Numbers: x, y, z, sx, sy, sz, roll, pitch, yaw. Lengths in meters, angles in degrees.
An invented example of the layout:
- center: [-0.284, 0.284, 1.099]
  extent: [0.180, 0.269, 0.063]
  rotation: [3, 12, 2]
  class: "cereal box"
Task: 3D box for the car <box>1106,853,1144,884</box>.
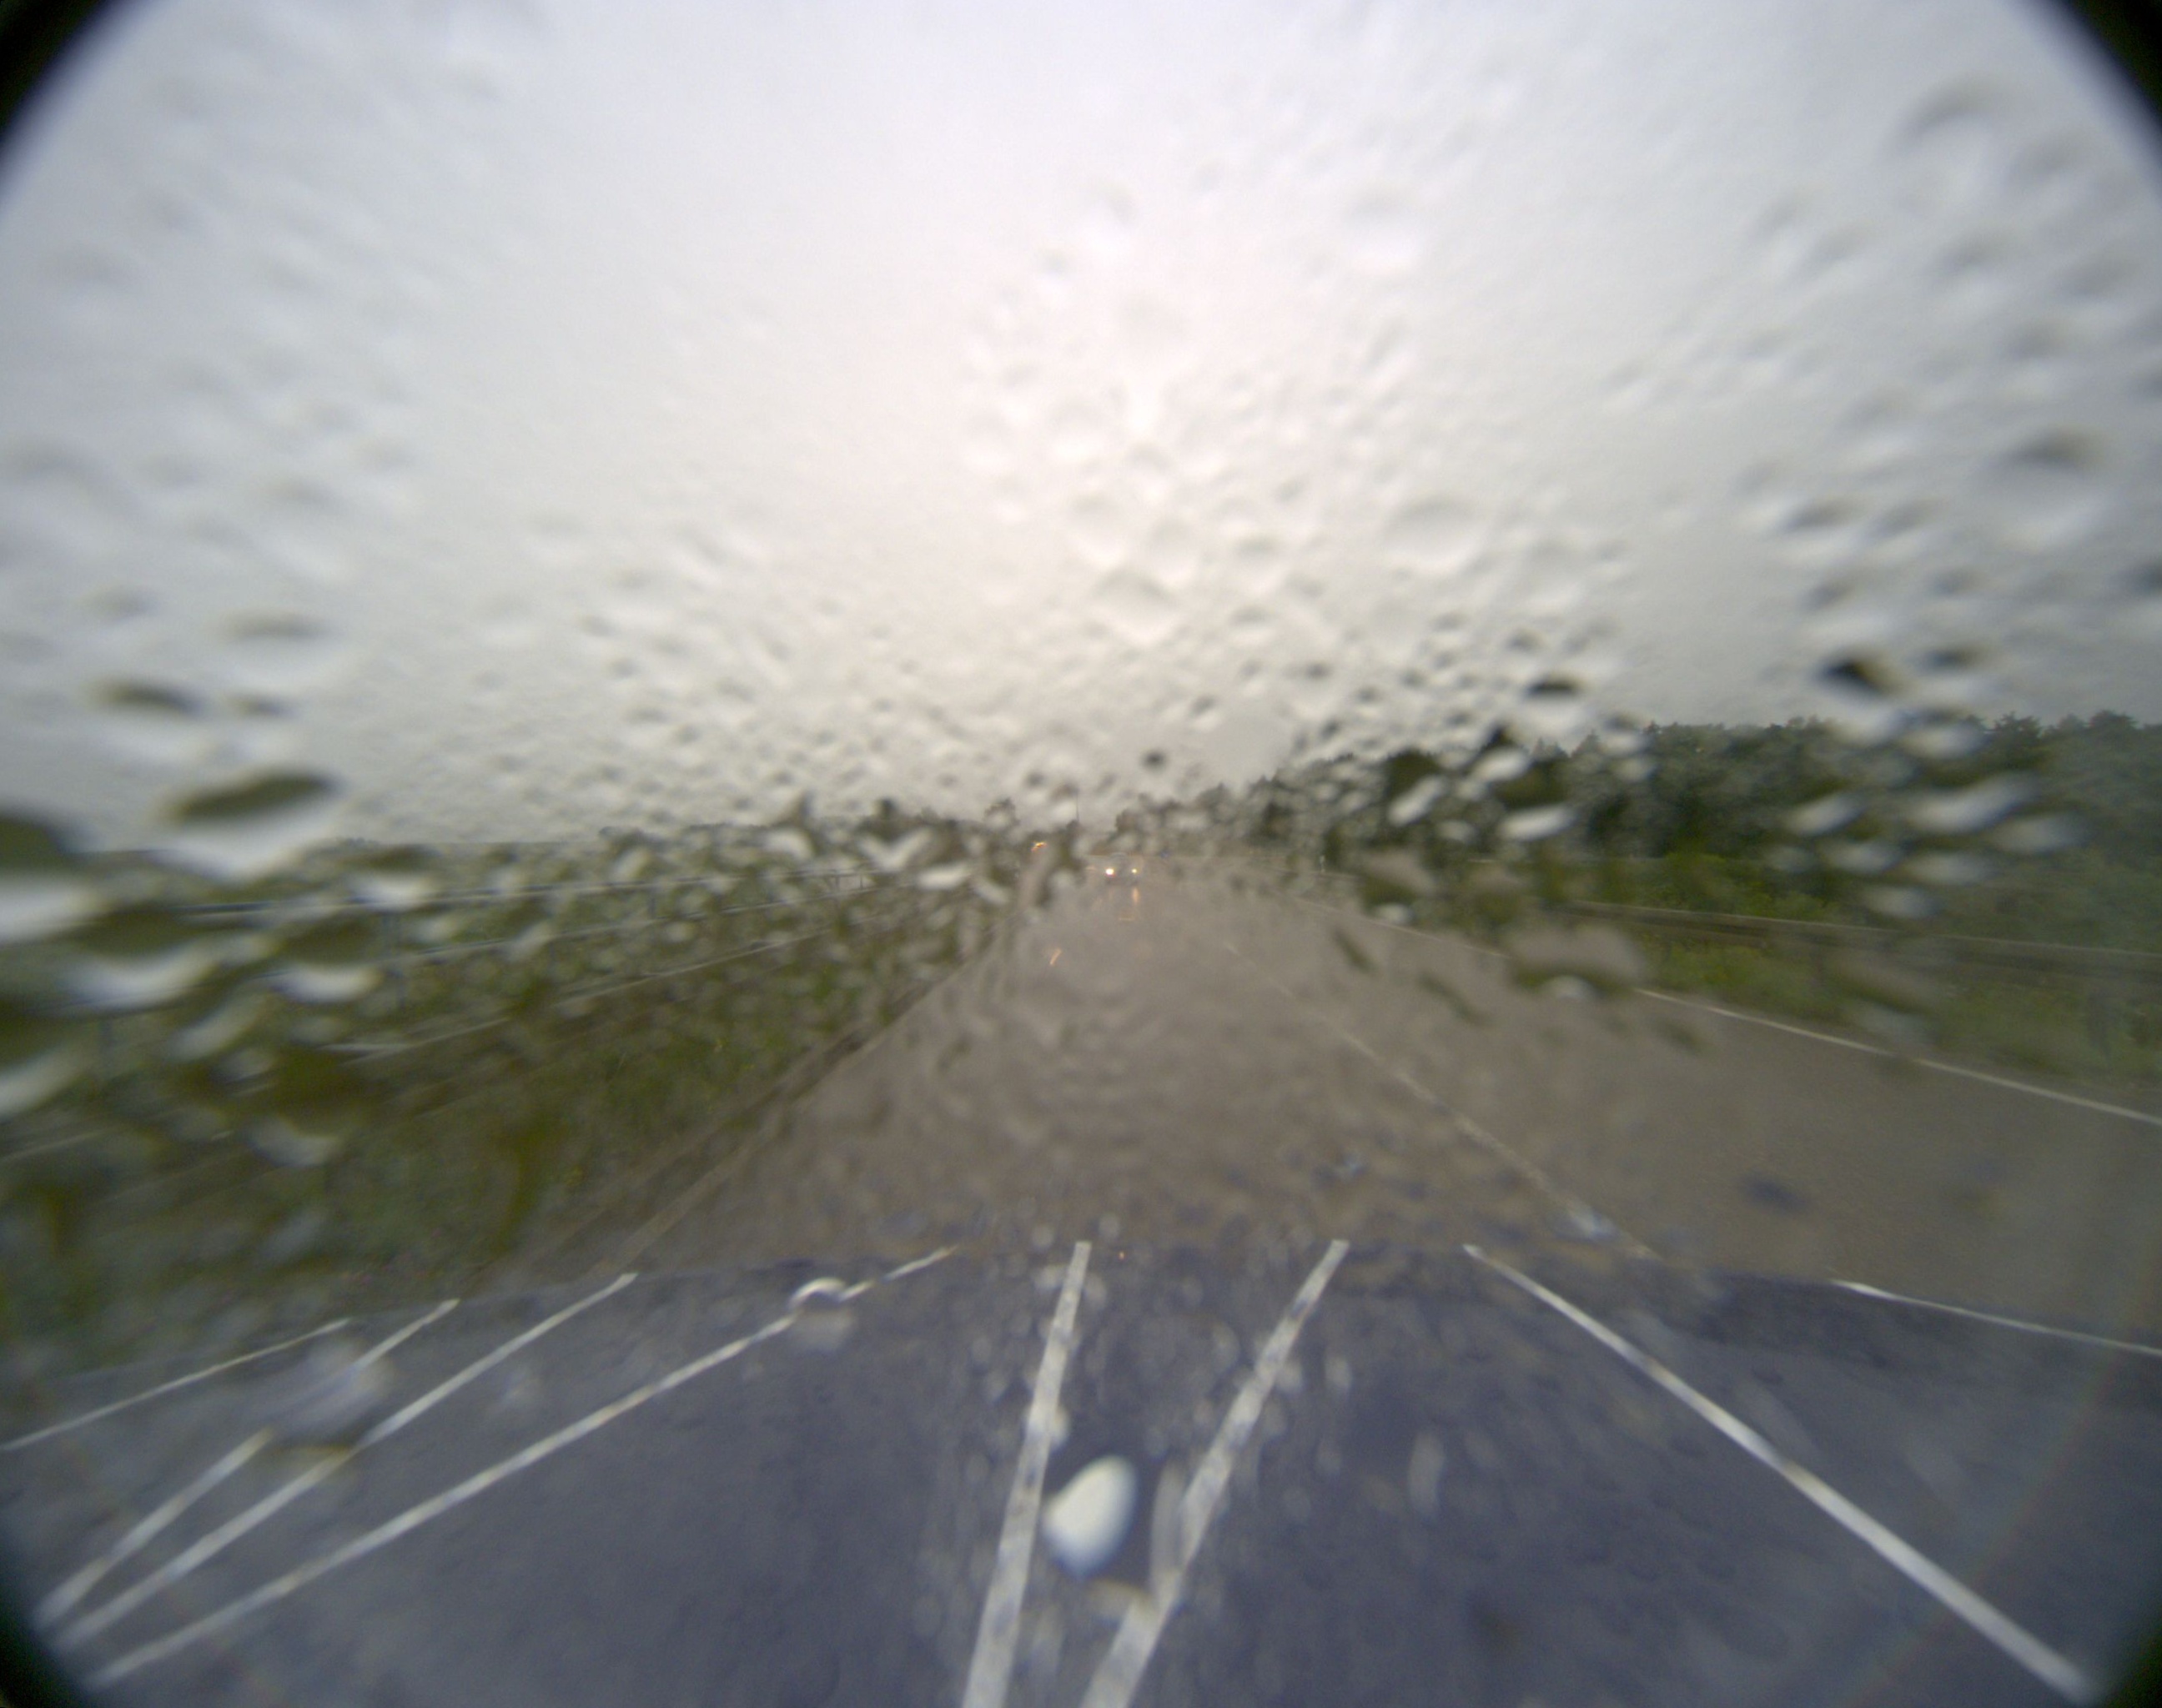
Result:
- center: [2.427, 0.747, 41.018]
  extent: [1.818, 1.382, 4.069]
  rotation: [-2, 2, 6]
  class: "car"
